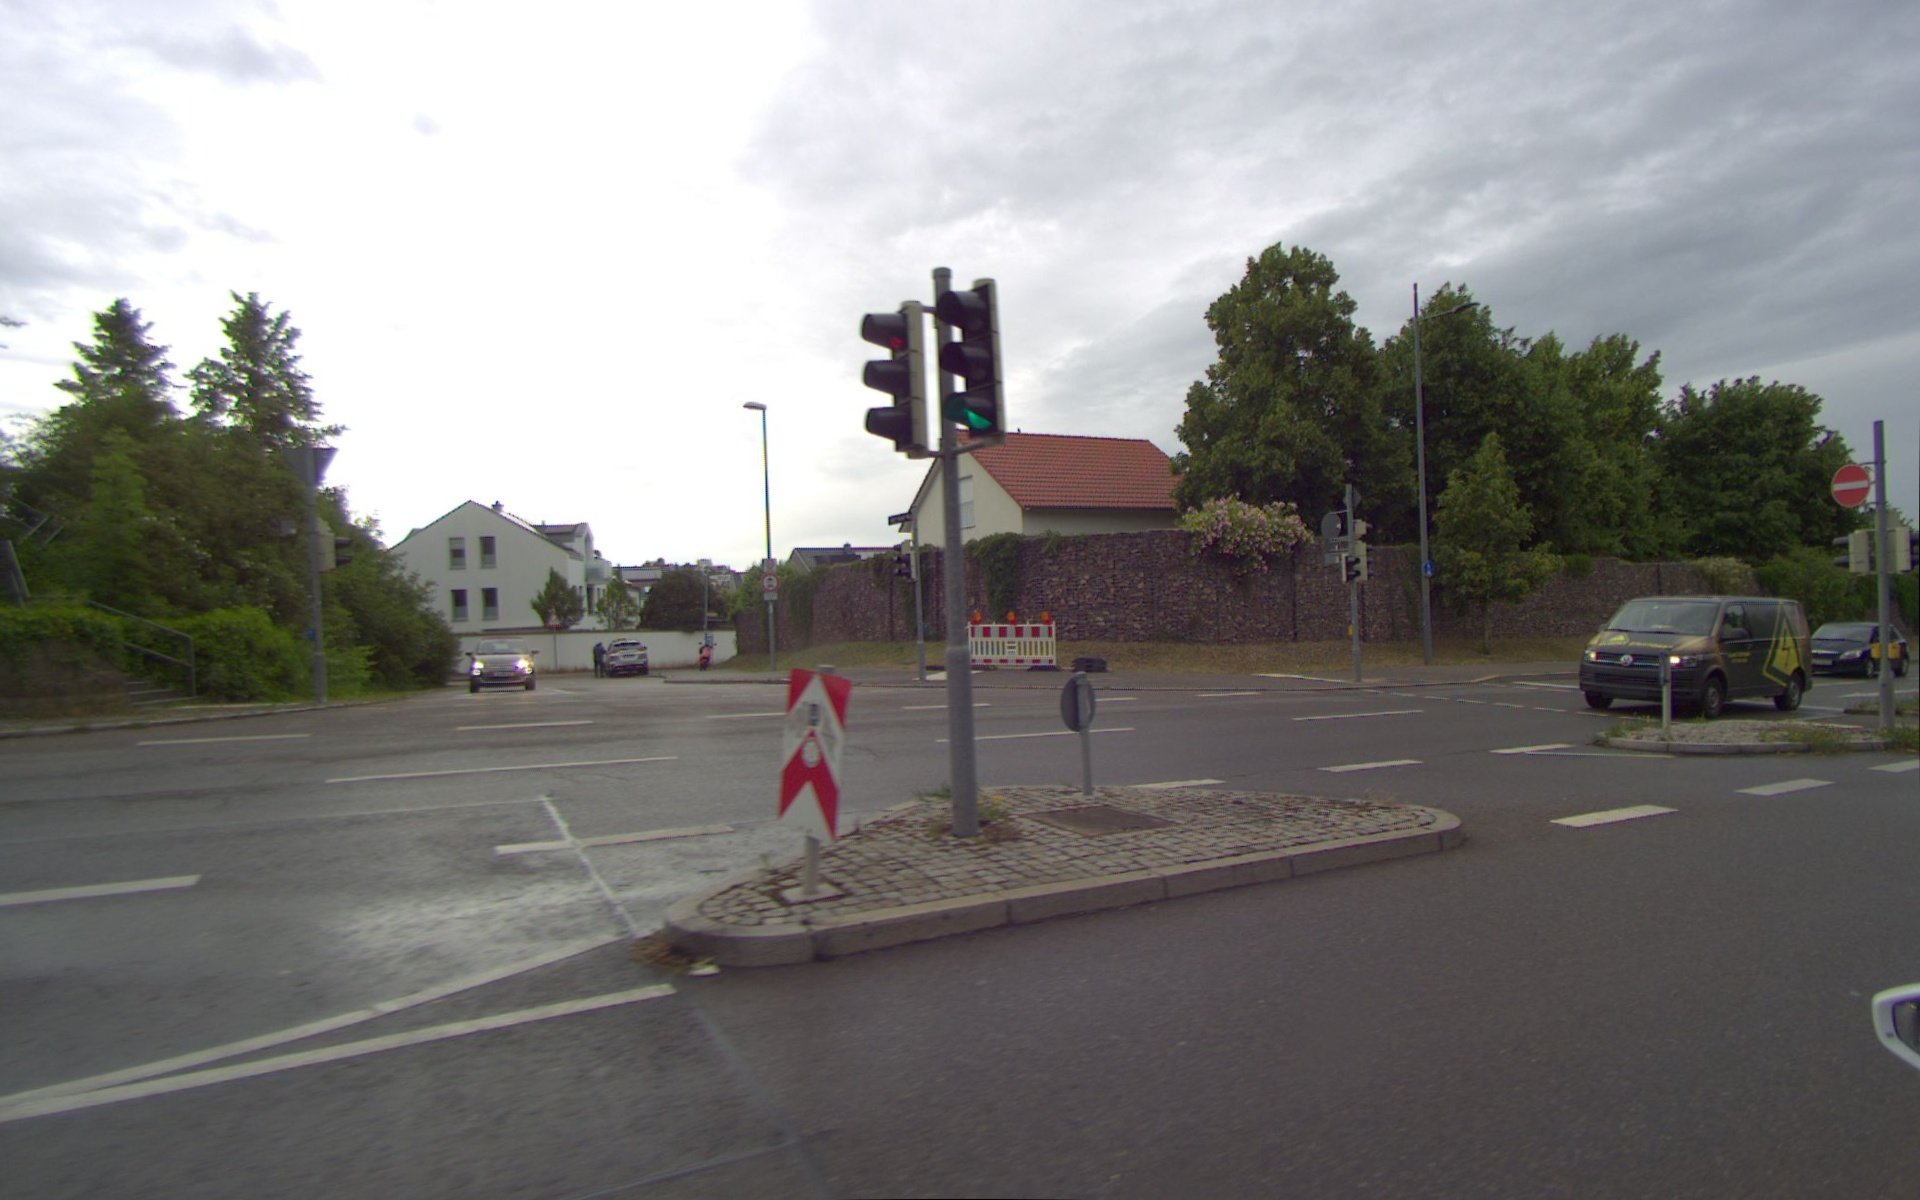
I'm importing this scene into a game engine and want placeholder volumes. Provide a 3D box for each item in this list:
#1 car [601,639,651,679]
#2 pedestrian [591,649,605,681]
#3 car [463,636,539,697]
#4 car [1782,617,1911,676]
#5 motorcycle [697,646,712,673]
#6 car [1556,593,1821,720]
[{"bbox_3d":[-15.879,2.776,47.680,1.868,1.725,3.977,-2,-1,-24],"label":"car"},{"bbox_3d":[-16.950,3.017,46.984,0.541,1.458,0.478,0,-1,-28],"label":"pedestrian"},{"bbox_3d":[-12.833,1.794,27.978,1.671,1.492,3.972,-1,-1,-28],"label":"car"},{"bbox_3d":[24.652,1.251,27.894,3.954,1.509,1.590,1,-1,-31],"label":"car"},{"bbox_3d":[-11.674,2.707,45.847,0.340,1.158,1.301,2,-1,-27],"label":"motorcycle"},{"bbox_3d":[12.787,0.907,17.538,5.038,1.944,2.003,1,-1,-32],"label":"car"}]
